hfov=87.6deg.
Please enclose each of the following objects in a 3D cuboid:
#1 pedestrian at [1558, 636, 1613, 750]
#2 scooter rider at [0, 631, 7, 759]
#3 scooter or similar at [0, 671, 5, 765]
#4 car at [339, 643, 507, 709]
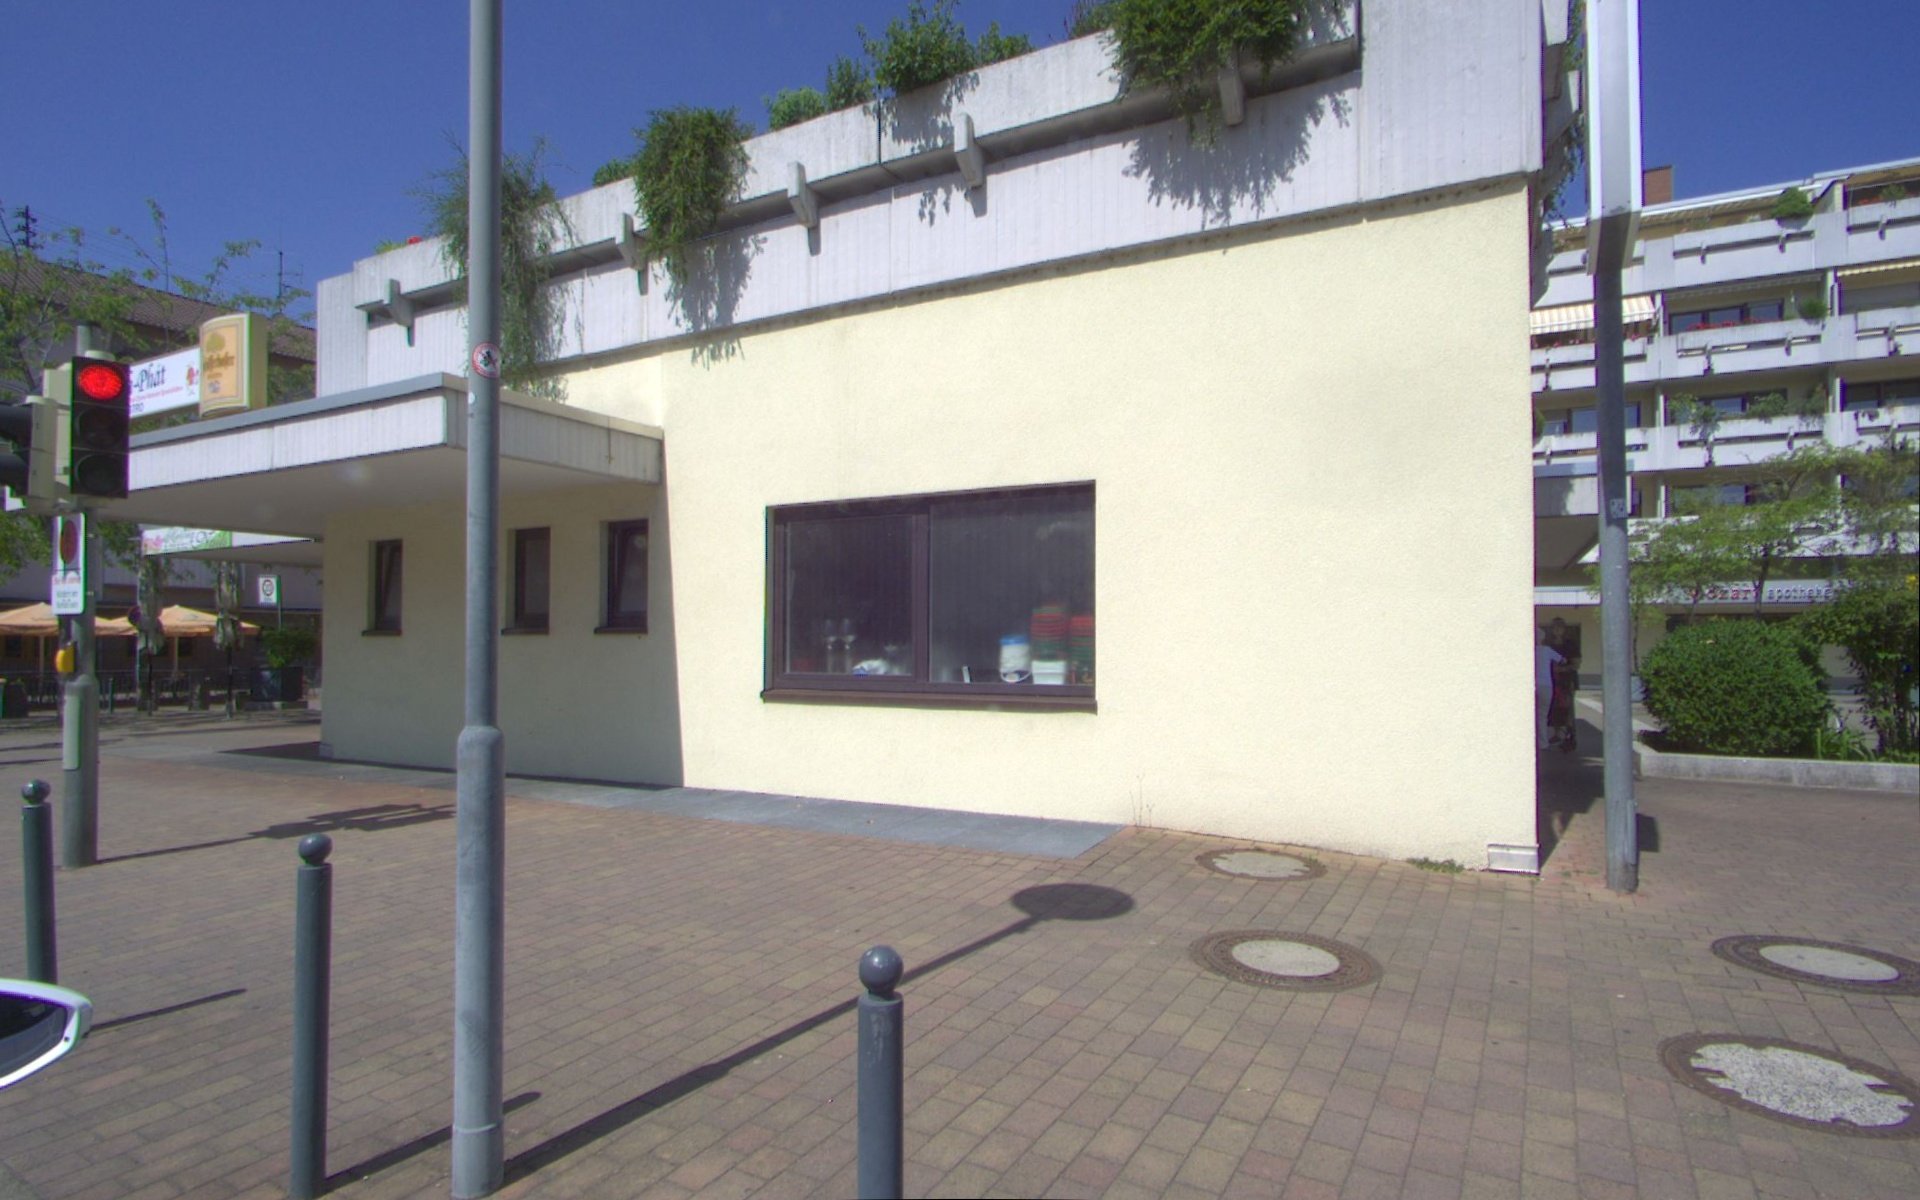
[{"bbox_3d":[8.453,1.231,13.552,0.596,1.482,0.791,-1,-2,32],"label":"pedestrian"},{"bbox_3d":[-10.676,1.007,10.703,1.117,1.341,0.460,-1,-1,33],"label":"scooter rider"},{"bbox_3d":[-10.542,1.242,10.609,0.947,0.977,0.410,-1,-2,34],"label":"scooter or similar"},{"bbox_3d":[-13.436,1.879,25.049,3.909,1.528,1.767,-2,-3,26],"label":"car"}]
